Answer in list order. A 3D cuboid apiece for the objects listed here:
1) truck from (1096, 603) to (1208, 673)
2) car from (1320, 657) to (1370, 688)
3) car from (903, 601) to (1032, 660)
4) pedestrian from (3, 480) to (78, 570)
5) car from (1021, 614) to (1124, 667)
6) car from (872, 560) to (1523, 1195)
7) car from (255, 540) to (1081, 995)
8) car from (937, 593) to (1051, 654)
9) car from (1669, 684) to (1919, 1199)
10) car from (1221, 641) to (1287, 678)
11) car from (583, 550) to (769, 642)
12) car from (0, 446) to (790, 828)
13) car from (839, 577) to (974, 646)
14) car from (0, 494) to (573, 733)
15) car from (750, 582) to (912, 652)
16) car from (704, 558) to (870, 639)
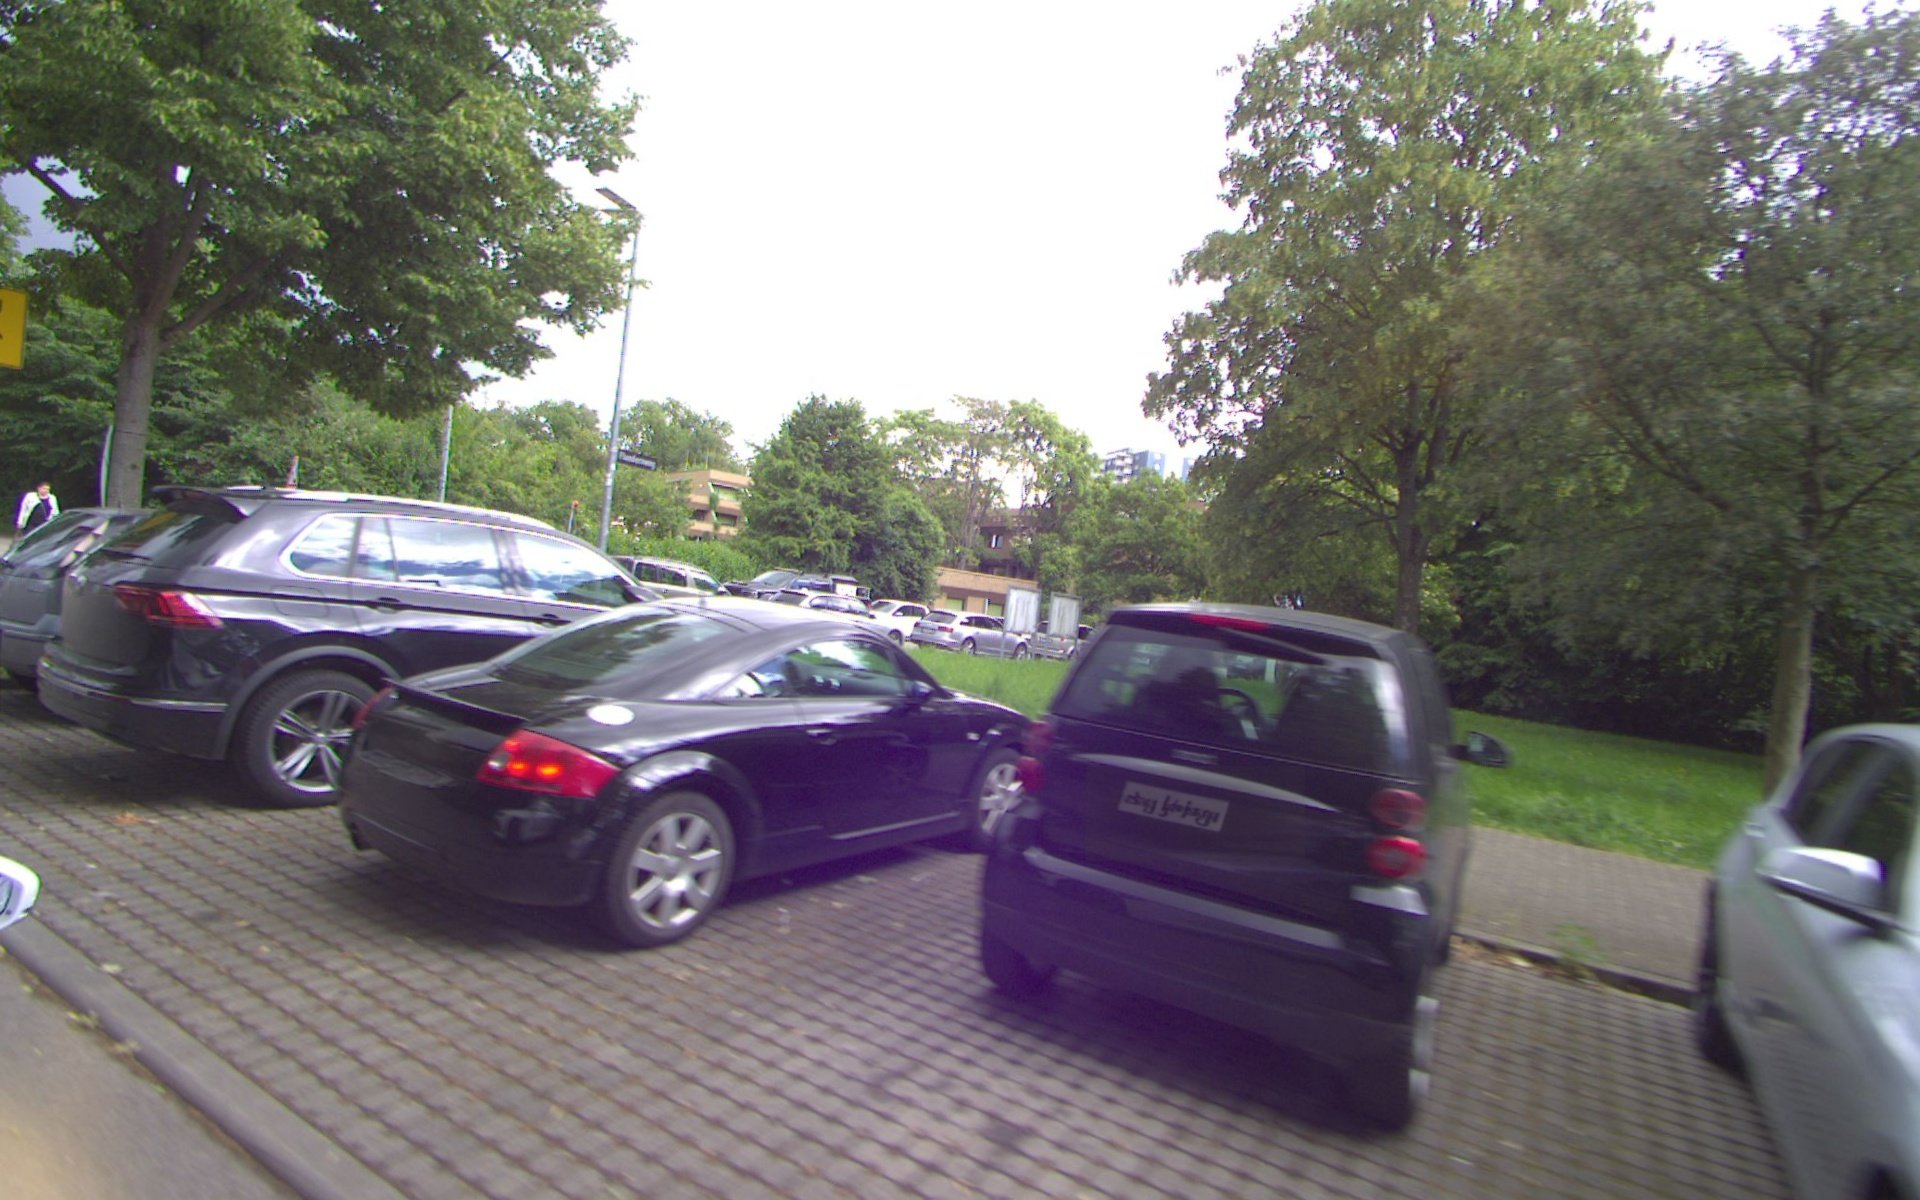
[{"bbox_3d":[8.216,1.664,42.586,2.160,2.455,5.504,7,-1,38],"label":"truck"},{"bbox_3d":[24.603,4.630,64.174,1.678,1.649,4.281,7,-1,38],"label":"car"},{"bbox_3d":[0.323,1.023,32.416,1.678,1.445,4.426,7,-1,38],"label":"car"},{"bbox_3d":[-17.856,-1.448,19.532,0.797,1.596,0.834,7,0,38],"label":"pedestrian"},{"bbox_3d":[4.234,1.535,37.326,1.678,1.544,4.281,7,-1,38],"label":"car"},{"bbox_3d":[1.501,0.821,4.779,1.789,1.578,3.835,6,1,31],"label":"car"},{"bbox_3d":[-1.123,0.620,5.314,1.794,1.376,3.831,6,1,35],"label":"car"},{"bbox_3d":[1.559,1.076,44.149,2.106,2.081,5.318,7,-1,38],"label":"car"},{"bbox_3d":[3.039,1.078,2.295,1.903,1.448,3.990,6,1,31],"label":"car"},{"bbox_3d":[15.155,3.074,51.687,1.678,1.544,4.281,7,-1,38],"label":"car"},{"bbox_3d":[-6.586,-0.049,23.608,1.742,1.689,3.776,7,0,39],"label":"car"},{"bbox_3d":[-3.347,0.198,6.631,1.949,1.671,4.123,6,1,35],"label":"car"},{"bbox_3d":[-1.965,0.486,39.070,2.106,2.081,5.318,7,-1,38],"label":"car"},{"bbox_3d":[-5.397,0.110,8.108,1.822,1.421,3.833,6,1,33],"label":"car"},{"bbox_3d":[-3.417,0.506,27.383,1.677,1.445,4.392,7,-1,37],"label":"car"},{"bbox_3d":[-5.676,0.013,33.728,2.106,2.081,5.318,7,-1,38],"label":"car"}]
